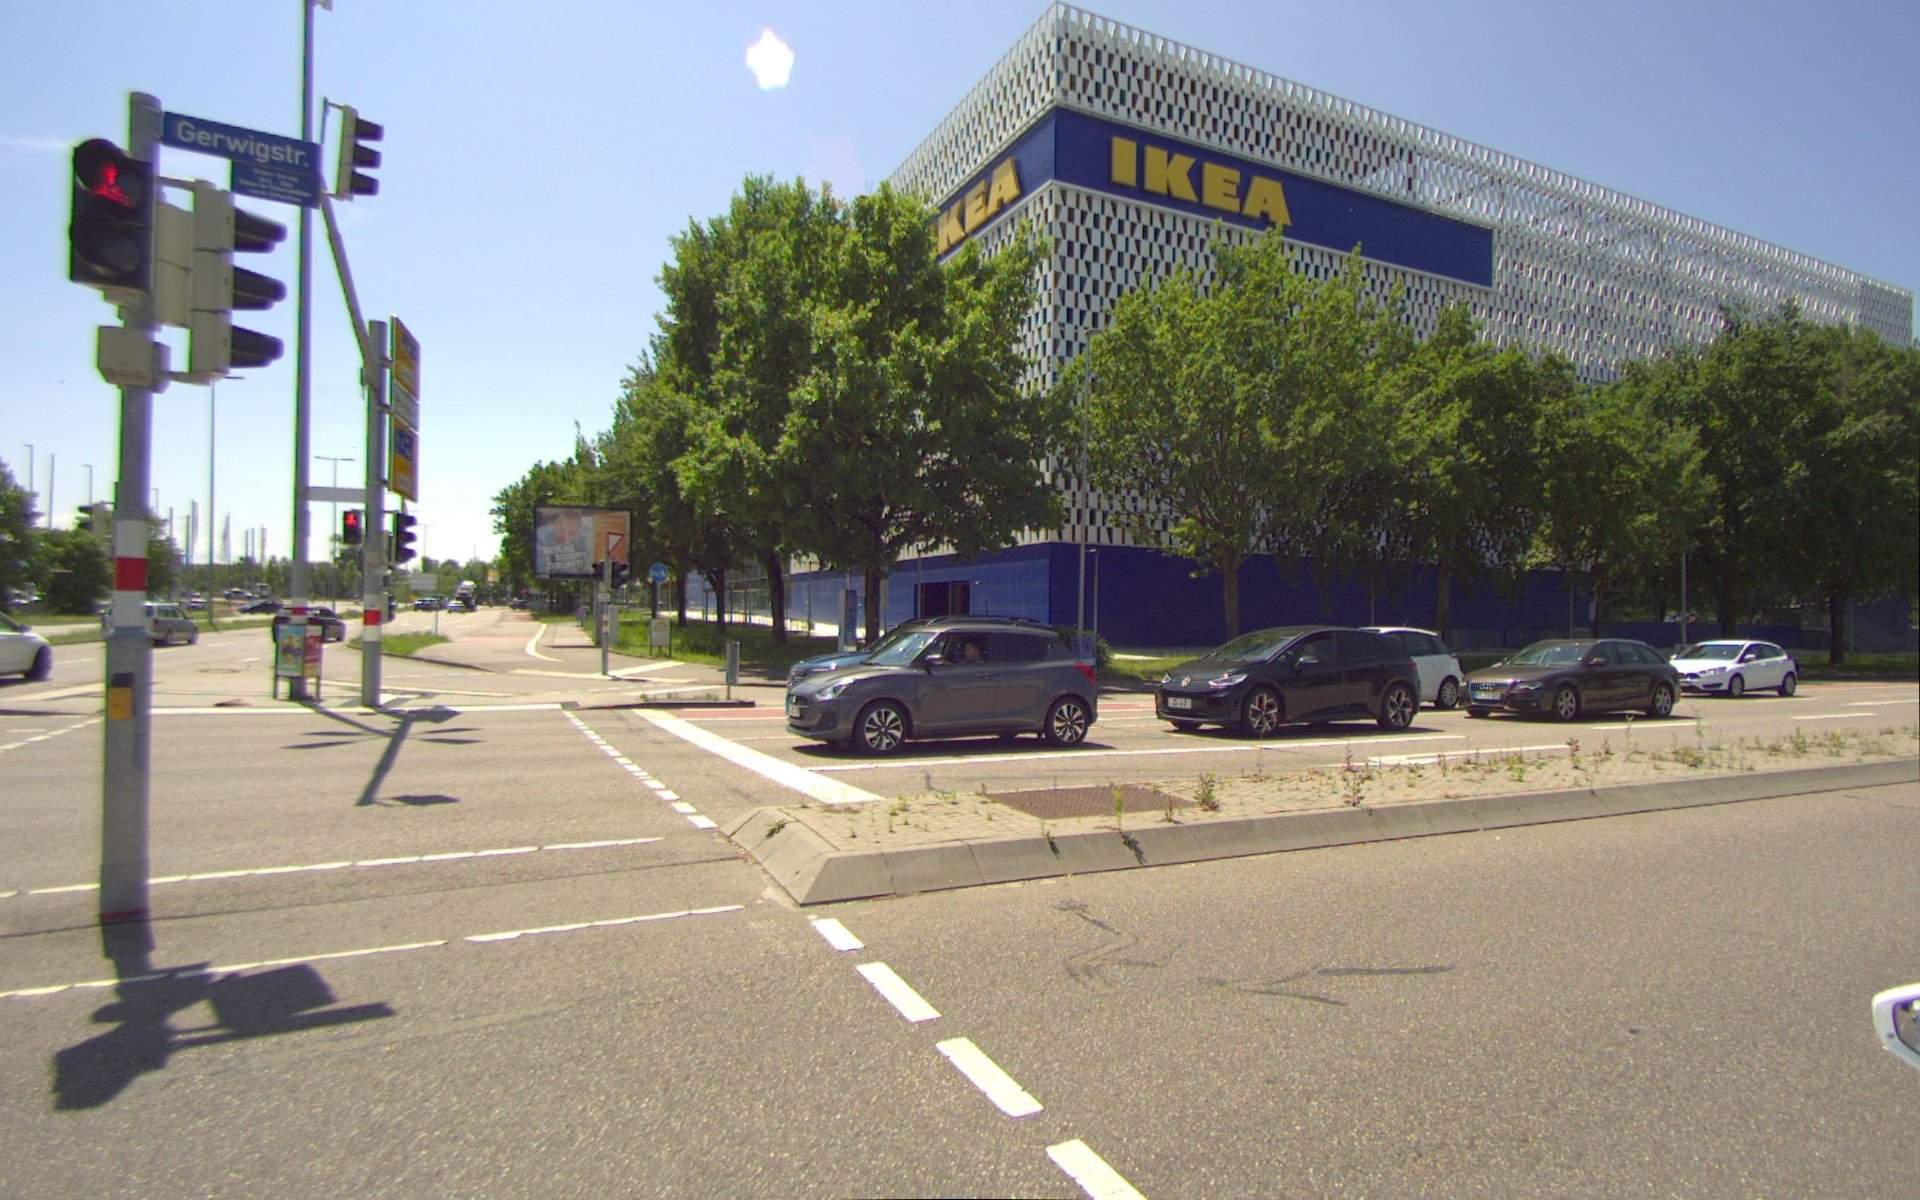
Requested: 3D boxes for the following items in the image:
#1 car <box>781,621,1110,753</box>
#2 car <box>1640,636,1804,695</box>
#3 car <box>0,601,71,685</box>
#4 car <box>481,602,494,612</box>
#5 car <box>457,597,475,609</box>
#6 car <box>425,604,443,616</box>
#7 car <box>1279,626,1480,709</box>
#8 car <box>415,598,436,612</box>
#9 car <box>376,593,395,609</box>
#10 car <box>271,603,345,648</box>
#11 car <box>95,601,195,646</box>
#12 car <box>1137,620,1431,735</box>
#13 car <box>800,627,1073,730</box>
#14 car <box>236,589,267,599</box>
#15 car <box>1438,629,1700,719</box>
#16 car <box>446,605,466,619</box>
[{"bbox_3d":[-0.158,1.009,12.226,3.667,1.407,1.639,2,-3,-26],"label":"car"},{"bbox_3d":[20.071,1.711,26.442,4.395,1.464,1.720,2,-3,-27],"label":"car"},{"bbox_3d":[-17.850,0.752,17.740,1.766,1.455,4.053,1,0,-19],"label":"car"},{"bbox_3d":[-73.090,1.050,155.405,1.531,1.572,3.403,1,-1,-22],"label":"car"},{"bbox_3d":[-65.058,0.386,132.258,1.973,1.572,3.975,1,-1,-25],"label":"car"},{"bbox_3d":[-66.807,1.277,127.646,1.621,1.572,3.403,1,-1,-22],"label":"car"},{"bbox_3d":[8.594,1.349,20.547,3.865,1.564,1.720,2,-2,-27],"label":"car"},{"bbox_3d":[-64.746,0.635,121.636,1.898,1.572,3.588,1,-1,-22],"label":"car"},{"bbox_3d":[-76.232,0.137,133.233,1.792,2.040,3.975,1,-1,-25],"label":"car"},{"bbox_3d":[-26.992,1.100,41.737,1.778,1.459,4.533,-4,-3,-24],"label":"car"},{"bbox_3d":[-27.637,0.793,34.198,1.674,1.441,3.985,0,-1,-24],"label":"car"},{"bbox_3d":[4.877,1.131,15.062,4.187,1.525,1.721,2,-3,-26],"label":"car"},{"bbox_3d":[-0.342,1.182,15.819,3.986,1.443,1.655,2,-2,-27],"label":"car"},{"bbox_3d":[-110.987,-0.965,157.433,3.969,1.441,1.681,2,-1,-35],"label":"car"},{"bbox_3d":[11.042,1.306,18.169,4.654,1.464,1.722,2,-3,-24],"label":"car"},{"bbox_3d":[-60.416,1.407,120.453,1.972,1.572,3.977,1,-1,-24],"label":"car"}]
